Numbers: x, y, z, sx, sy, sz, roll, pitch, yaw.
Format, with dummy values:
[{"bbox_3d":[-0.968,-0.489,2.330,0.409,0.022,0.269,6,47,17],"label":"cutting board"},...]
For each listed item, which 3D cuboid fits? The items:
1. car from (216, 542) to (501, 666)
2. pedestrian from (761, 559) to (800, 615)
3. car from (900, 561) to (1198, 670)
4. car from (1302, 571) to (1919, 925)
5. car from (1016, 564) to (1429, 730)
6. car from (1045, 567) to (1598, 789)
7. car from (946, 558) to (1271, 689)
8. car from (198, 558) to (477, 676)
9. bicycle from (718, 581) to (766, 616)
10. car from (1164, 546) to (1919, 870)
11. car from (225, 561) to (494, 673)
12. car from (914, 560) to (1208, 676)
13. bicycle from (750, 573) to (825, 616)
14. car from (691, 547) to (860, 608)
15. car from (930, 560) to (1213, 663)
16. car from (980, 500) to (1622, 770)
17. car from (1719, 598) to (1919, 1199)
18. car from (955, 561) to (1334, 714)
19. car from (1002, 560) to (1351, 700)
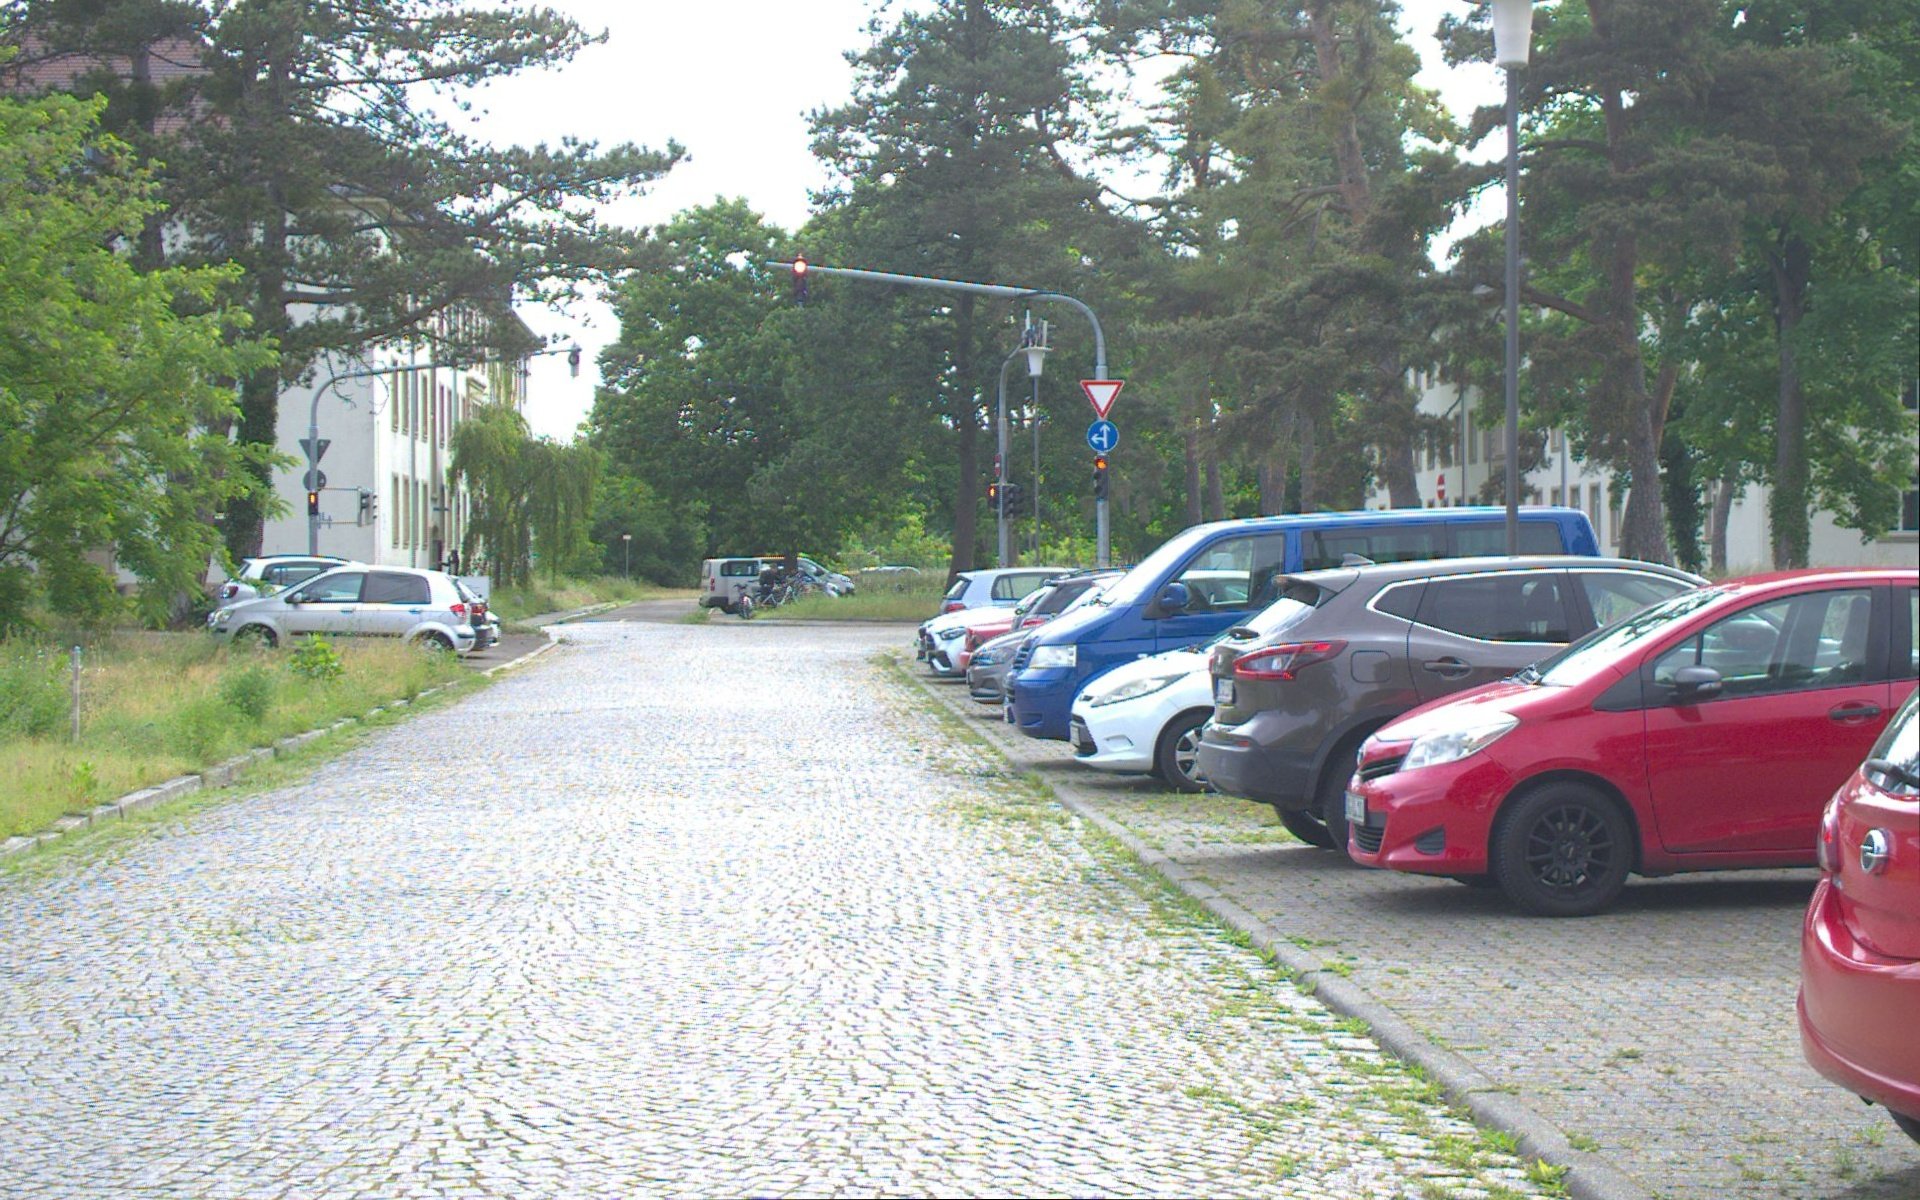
[{"bbox_3d":[-9.554,0.055,54.851,4.262,1.834,1.744,-1,0,-4],"label":"car"},{"bbox_3d":[-5.227,-0.380,100.078,1.033,1.608,0.758,1,0,-8],"label":"pedestrian"},{"bbox_3d":[1.227,0.205,48.417,3.967,1.416,1.620,-1,0,-7],"label":"car"},{"bbox_3d":[3.598,0.617,15.729,3.791,1.455,1.751,-1,0,-3],"label":"car"},{"bbox_3d":[2.455,0.426,32.592,3.671,1.444,1.524,-1,0,-5],"label":"car"},{"bbox_3d":[2.549,0.533,24.715,3.671,1.444,1.615,-1,0,-6],"label":"car"},{"bbox_3d":[1.741,0.271,41.040,3.671,1.444,1.524,-1,0,-5],"label":"car"},{"bbox_3d":[-8.920,0.232,49.473,3.821,1.567,1.565,-1,0,-6],"label":"car"},{"bbox_3d":[-6.067,-0.047,95.618,0.620,0.942,1.663,0,0,-31],"label":"bicycle"},{"bbox_3d":[3.237,0.531,18.364,4.028,1.547,1.751,-1,0,-6],"label":"car"},{"bbox_3d":[-9.024,0.246,51.888,3.821,1.567,1.564,-1,0,-4],"label":"car"},{"bbox_3d":[1.314,0.229,45.562,3.671,1.416,1.524,-1,0,-7],"label":"car"},{"bbox_3d":[-5.008,-0.170,99.747,2.136,1.210,0.622,1,0,-7],"label":"bicycle"},{"bbox_3d":[-6.319,-0.764,117.612,5.444,2.007,2.269,1,0,-12],"label":"car"},{"bbox_3d":[1.637,0.158,51.092,3.967,1.416,1.620,-1,0,-7],"label":"car"},{"bbox_3d":[2.636,0.255,27.314,4.753,1.948,1.932,-1,0,-5],"label":"car"},{"bbox_3d":[3.950,0.694,8.146,3.825,1.455,1.779,-1,0,-4],"label":"car"},{"bbox_3d":[1.864,0.366,35.344,3.671,1.444,1.524,-1,0,-5],"label":"car"},{"bbox_3d":[2.384,0.319,38.364,3.671,1.444,1.524,-1,0,-5],"label":"car"}]
